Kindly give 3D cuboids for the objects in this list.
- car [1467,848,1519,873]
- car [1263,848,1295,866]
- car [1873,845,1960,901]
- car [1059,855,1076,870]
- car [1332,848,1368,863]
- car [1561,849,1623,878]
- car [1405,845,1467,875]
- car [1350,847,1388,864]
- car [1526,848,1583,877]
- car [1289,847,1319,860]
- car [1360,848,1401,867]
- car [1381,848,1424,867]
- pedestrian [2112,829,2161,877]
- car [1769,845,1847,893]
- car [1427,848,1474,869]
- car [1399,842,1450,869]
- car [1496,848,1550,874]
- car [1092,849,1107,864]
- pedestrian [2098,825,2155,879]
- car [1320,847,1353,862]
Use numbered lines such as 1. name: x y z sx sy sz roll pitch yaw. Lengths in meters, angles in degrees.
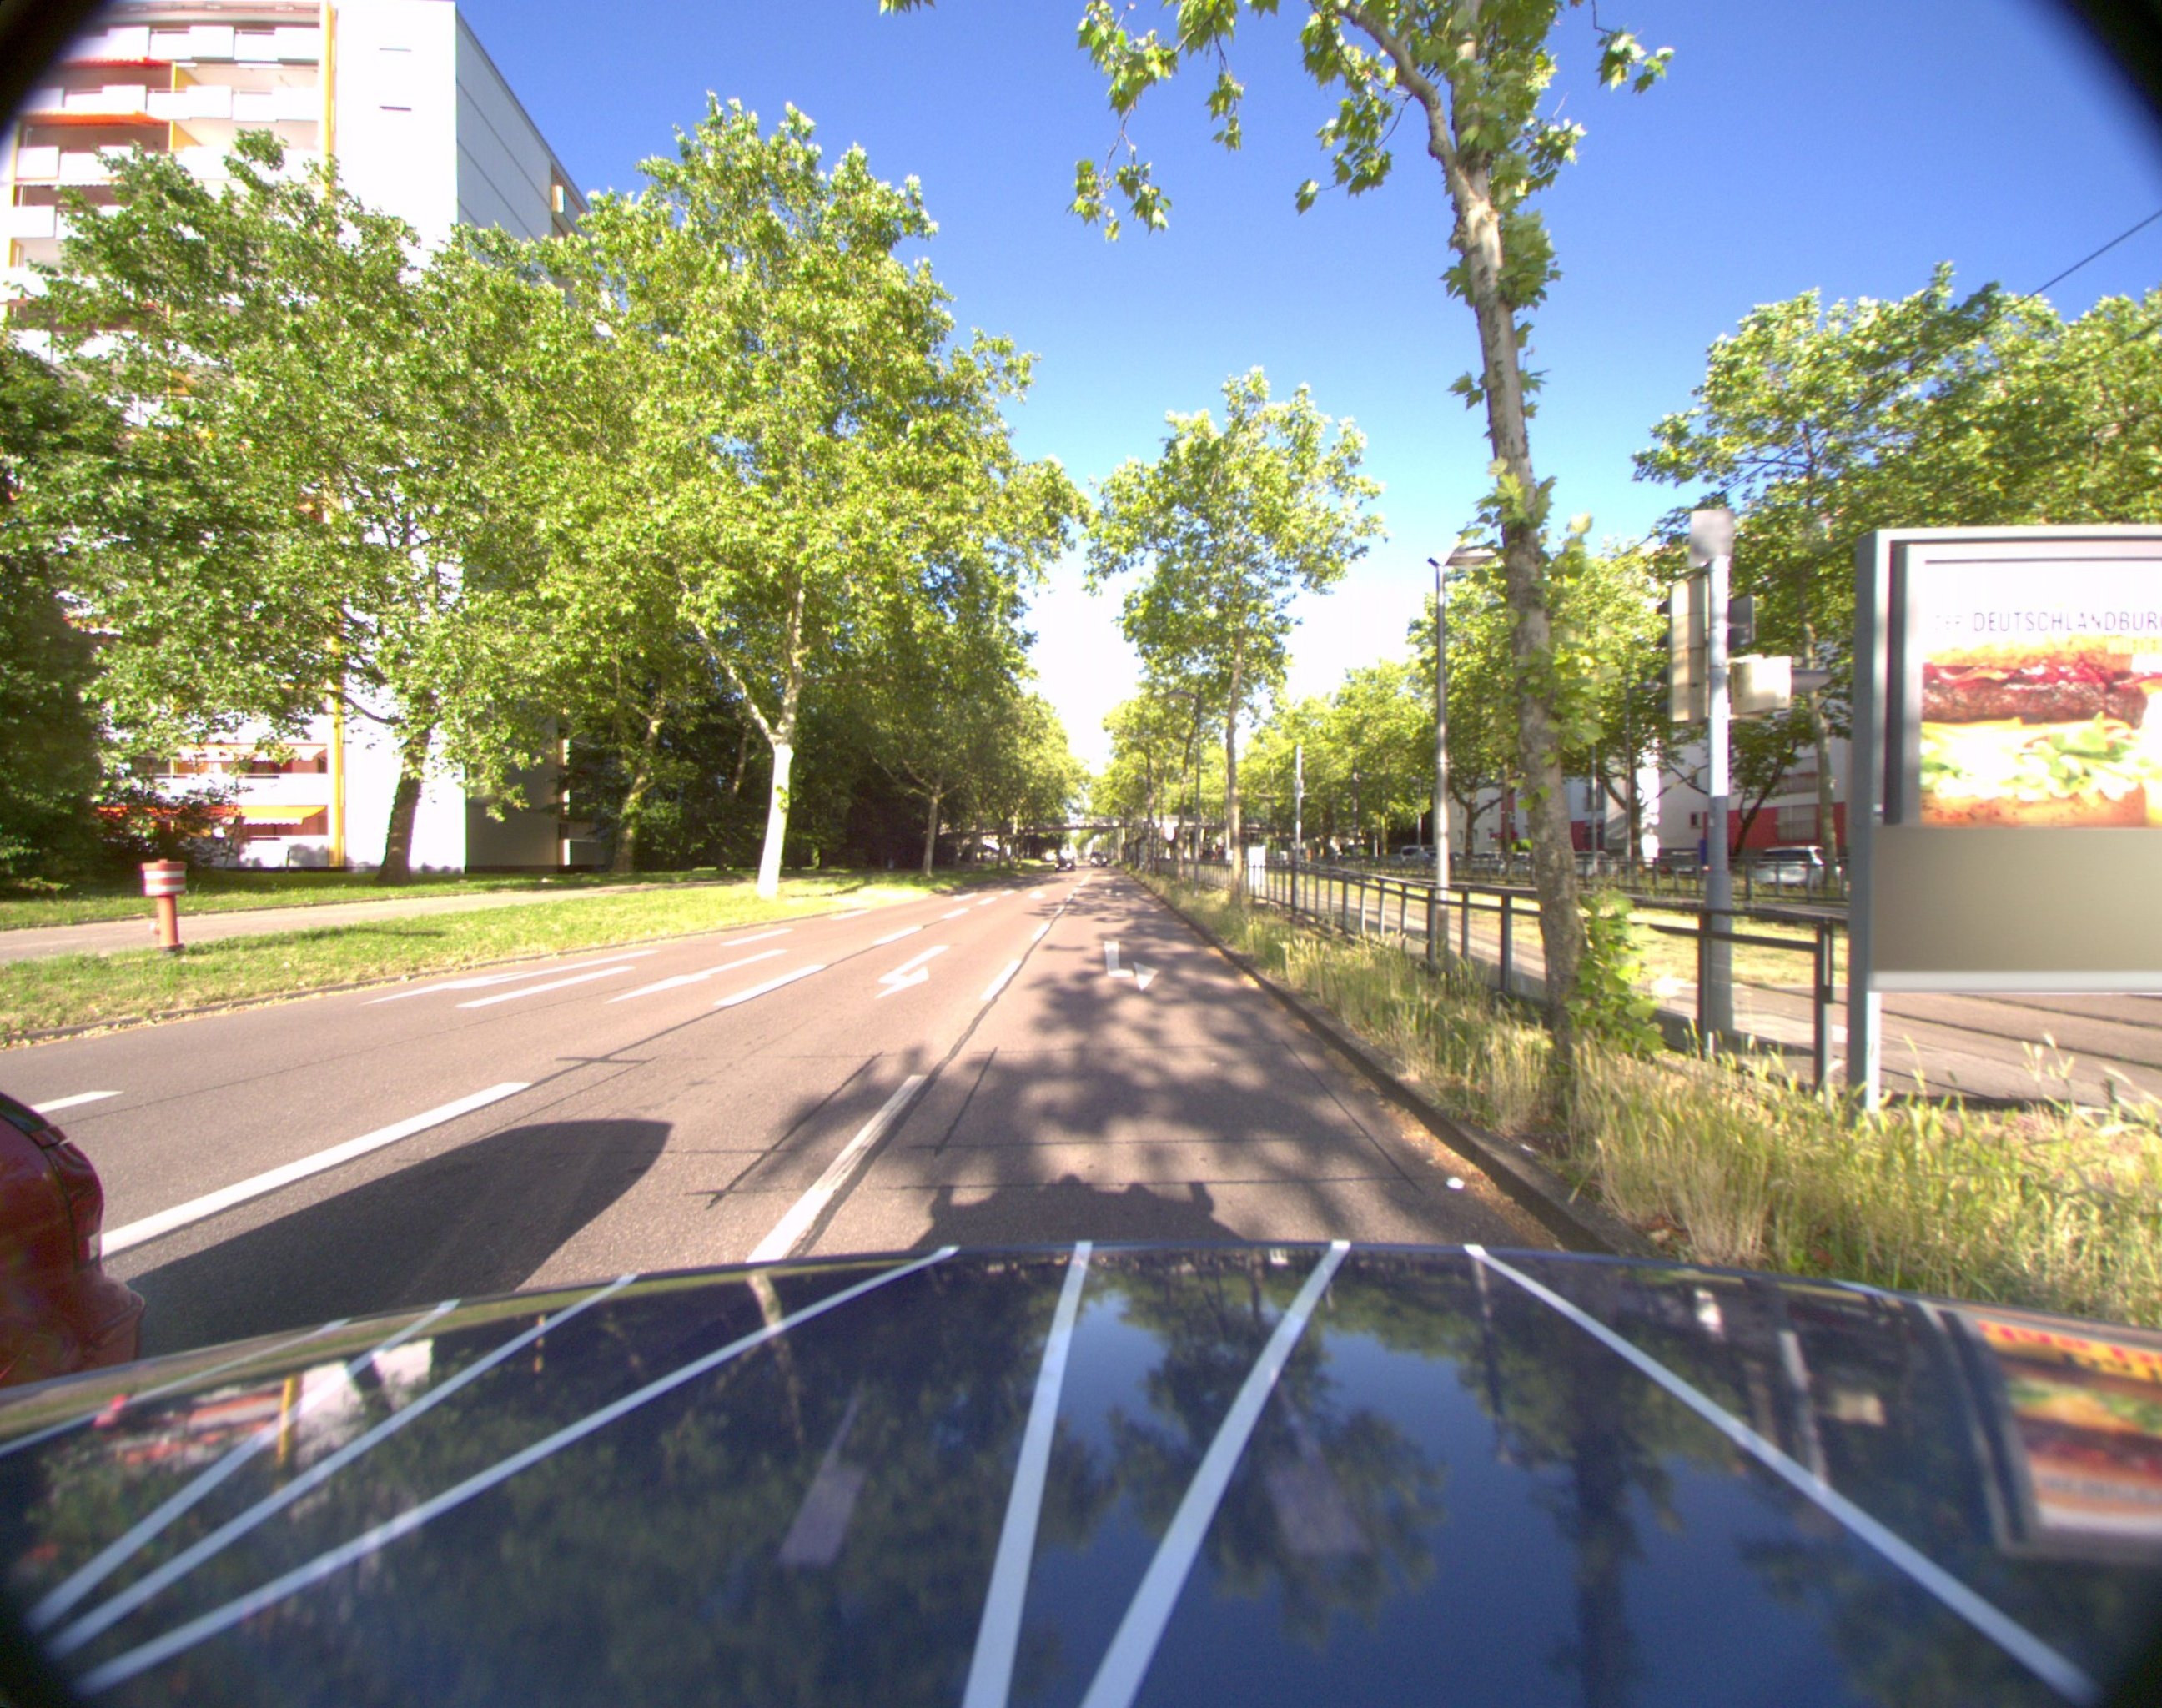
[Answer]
1. car: 25.857 0.401 47.678 3.811 1.433 1.652 -2 0 -42
2. car: 21.083 0.281 81.218 1.832 1.811 4.901 -2 0 -3
3. car: 25.250 0.527 22.966 3.811 1.501 1.652 -2 0 -42
4. car: -1.336 0.815 77.015 1.580 1.395 3.638 -2 0 0
5. car: 26.071 0.138 73.564 3.811 1.433 1.652 -2 0 -42
6. car: 25.388 0.451 37.697 3.811 1.348 1.652 -2 0 -42
7. car: 20.493 0.328 44.068 1.655 1.609 4.294 -2 0 1
8. car: 26.624 0.139 70.133 3.811 1.433 1.652 -2 0 -42
9. car: 25.869 0.446 41.478 3.811 1.433 1.652 -2 0 -42
10. car: 26.444 -0.043 89.974 3.811 1.433 1.652 -2 0 -42
11. car: 24.949 0.276 63.208 3.811 1.433 1.652 -2 0 -42
12. car: 25.735 0.273 60.751 3.811 1.433 1.652 -2 0 -42
13. pedestrian: 36.297 -0.042 26.082 0.764 1.614 0.786 -2 1 -1
14. car: 25.363 0.492 26.474 3.811 1.501 1.652 -2 0 -42
15. car: 26.308 0.314 54.031 3.811 1.433 1.652 -2 0 -42
16. car: 25.824 0.093 57.029 4.330 1.863 1.836 -2 0 -42
17. car: 26.104 0.410 44.863 3.811 1.433 1.652 -2 0 -42
18. car: 2.536 0.355 101.990 1.906 1.924 4.720 -2 0 2
19. pedestrian: 34.124 -0.061 24.809 0.764 1.723 0.786 -2 1 -1
20. car: 26.791 0.050 79.624 3.811 1.433 1.652 -2 0 -42
